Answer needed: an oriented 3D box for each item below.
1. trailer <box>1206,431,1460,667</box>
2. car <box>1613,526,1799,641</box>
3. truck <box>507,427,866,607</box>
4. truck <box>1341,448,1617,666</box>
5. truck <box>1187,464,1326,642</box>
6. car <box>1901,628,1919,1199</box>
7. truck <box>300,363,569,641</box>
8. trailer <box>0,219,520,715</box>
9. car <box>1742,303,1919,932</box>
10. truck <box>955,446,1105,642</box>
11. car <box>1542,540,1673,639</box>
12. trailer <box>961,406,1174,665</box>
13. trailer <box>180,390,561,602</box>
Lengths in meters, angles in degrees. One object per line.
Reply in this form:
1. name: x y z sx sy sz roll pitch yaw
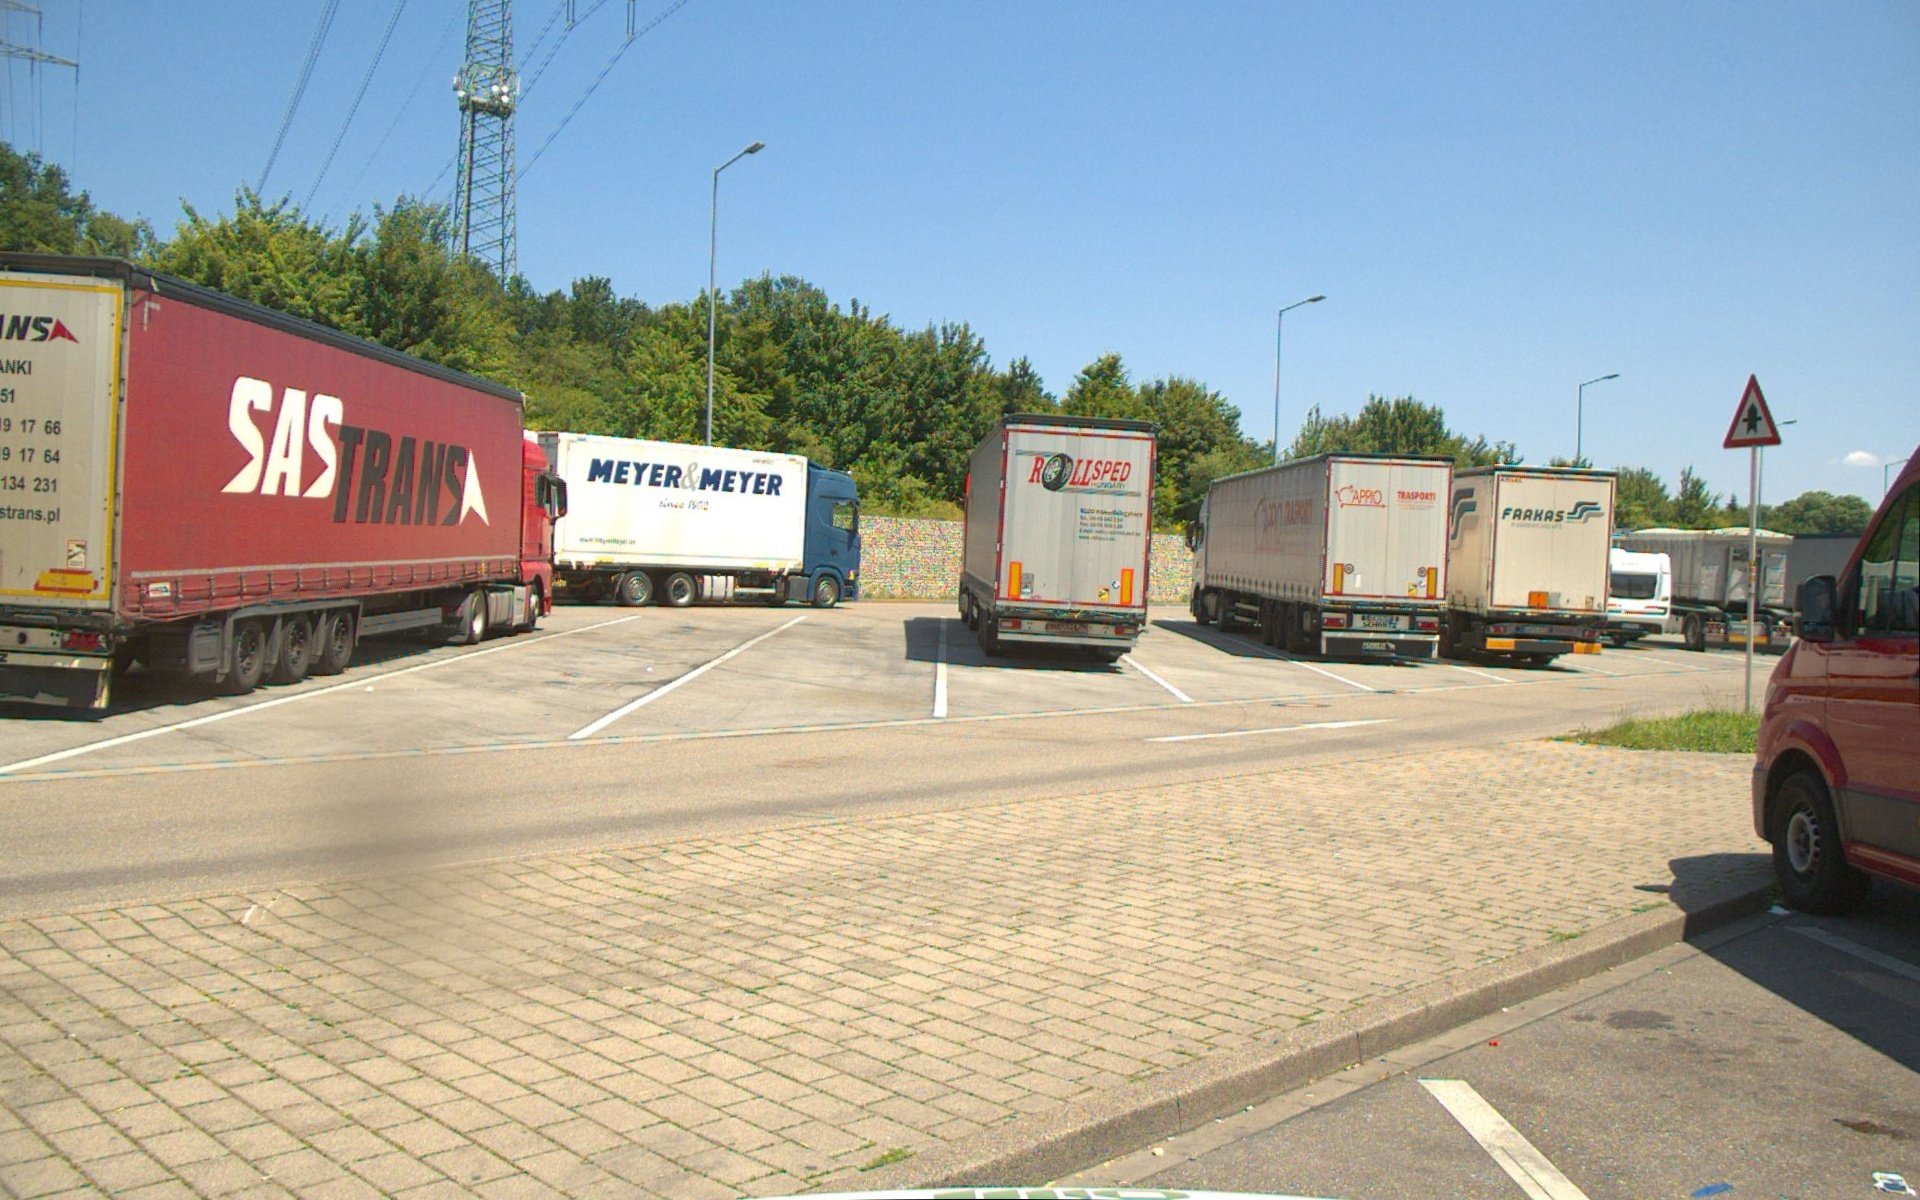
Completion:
1. trailer: 8.170 -1.102 38.393 2.627 4.530 12.826 1 1 -1
2. car: 21.698 -0.504 48.499 2.448 3.128 6.350 1 1 -1
3. truck: -6.863 -1.964 43.428 2.203 4.104 9.989 2 0 43
4. truck: 11.713 -0.839 38.899 2.534 4.299 11.967 1 0 -1
5. truck: 8.019 -1.253 45.375 2.607 4.530 5.863 1 1 -1
6. car: 2.638 0.799 1.044 1.742 1.483 3.681 1 0 -6
7. truck: -8.728 -1.549 28.244 2.749 4.205 5.893 1 1 -1
8. trailer: -8.642 -1.289 20.990 2.743 4.293 13.200 1 1 -1
9. car: 5.000 0.109 5.561 1.952 2.679 6.385 1 1 3
10. truck: 1.471 -1.237 37.763 2.814 4.050 6.026 1 1 -3
11. car: 18.232 -0.275 46.741 2.072 2.645 3.999 1 0 -1
12. trailer: 1.718 -1.125 31.989 2.839 4.083 11.312 1 1 -3
13. trailer: -12.886 -2.090 36.850 2.225 4.138 7.836 0 -1 42
